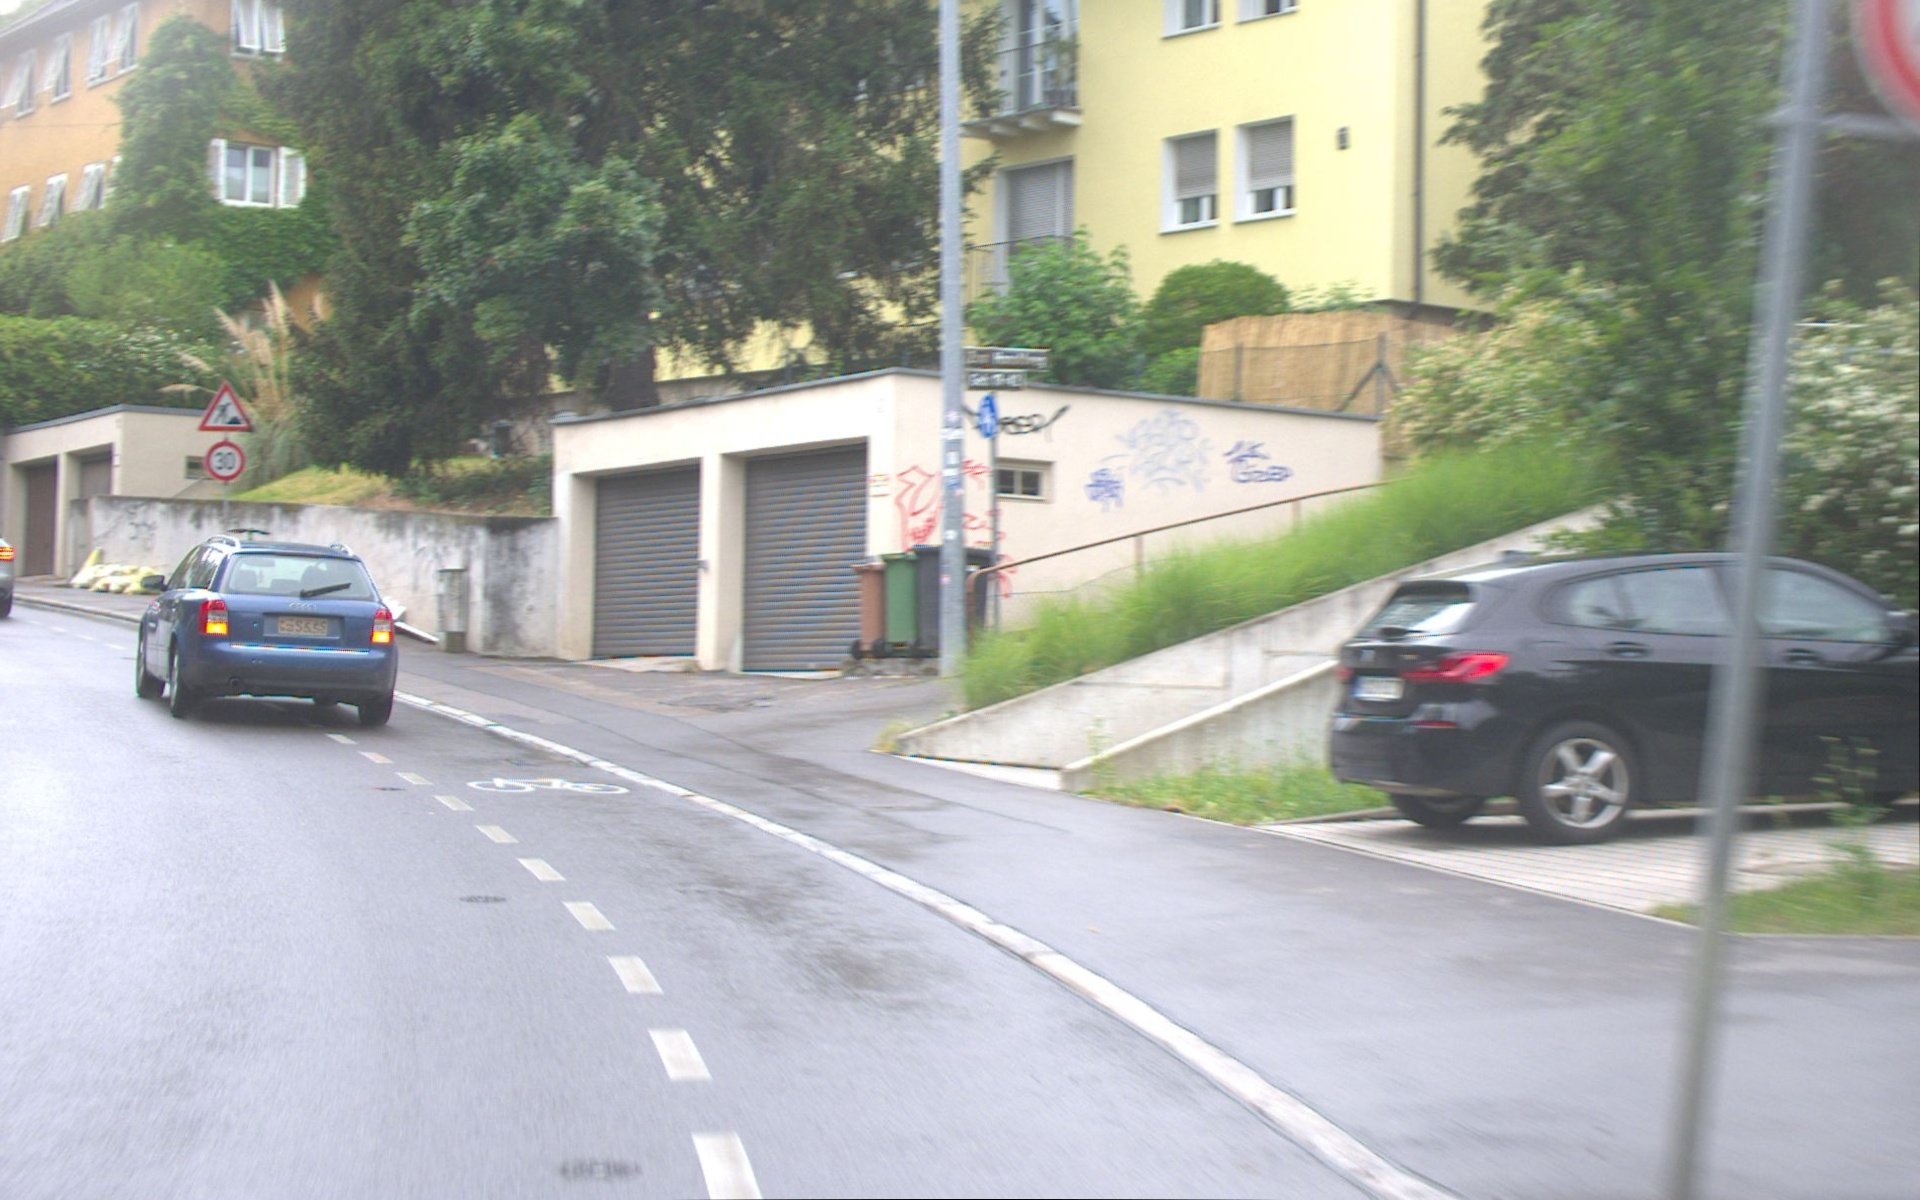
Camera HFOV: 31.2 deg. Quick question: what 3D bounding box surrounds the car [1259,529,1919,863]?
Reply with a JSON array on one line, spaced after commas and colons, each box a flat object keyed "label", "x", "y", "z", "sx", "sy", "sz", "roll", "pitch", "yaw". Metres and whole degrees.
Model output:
[{"label": "car", "x": 3.845, "y": 0.434, "z": 17.997, "sx": 4.168, "sy": 1.503, "sz": 1.741, "roll": -2, "pitch": 2, "yaw": -15}]

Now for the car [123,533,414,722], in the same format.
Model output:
[{"label": "car", "x": -5.824, "y": 0.167, "z": 28.581, "sx": 1.853, "sy": 1.409, "sz": 4.363, "roll": 0, "pitch": 1, "yaw": -18}]

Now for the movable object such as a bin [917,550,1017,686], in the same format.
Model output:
[{"label": "movable object such as a bin", "x": 0.063, "y": 0.154, "z": 31.491, "sx": 0.702, "sy": 1.219, "sz": 0.581, "roll": 0, "pitch": 2, "yaw": -36}]

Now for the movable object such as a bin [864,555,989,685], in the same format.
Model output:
[{"label": "movable object such as a bin", "x": -0.314, "y": 0.175, "z": 32.069, "sx": 0.859, "sy": 1.181, "sz": 0.787, "roll": 0, "pitch": 2, "yaw": -36}]

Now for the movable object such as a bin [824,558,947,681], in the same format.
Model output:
[{"label": "movable object such as a bin", "x": -0.711, "y": 0.178, "z": 32.769, "sx": 0.859, "sy": 1.138, "sz": 0.799, "roll": 0, "pitch": 2, "yaw": -36}]

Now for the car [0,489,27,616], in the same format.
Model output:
[{"label": "car", "x": -13.884, "y": -0.742, "z": 46.250, "sx": 1.949, "sy": 1.556, "sz": 4.265, "roll": 2, "pitch": 3, "yaw": -23}]
